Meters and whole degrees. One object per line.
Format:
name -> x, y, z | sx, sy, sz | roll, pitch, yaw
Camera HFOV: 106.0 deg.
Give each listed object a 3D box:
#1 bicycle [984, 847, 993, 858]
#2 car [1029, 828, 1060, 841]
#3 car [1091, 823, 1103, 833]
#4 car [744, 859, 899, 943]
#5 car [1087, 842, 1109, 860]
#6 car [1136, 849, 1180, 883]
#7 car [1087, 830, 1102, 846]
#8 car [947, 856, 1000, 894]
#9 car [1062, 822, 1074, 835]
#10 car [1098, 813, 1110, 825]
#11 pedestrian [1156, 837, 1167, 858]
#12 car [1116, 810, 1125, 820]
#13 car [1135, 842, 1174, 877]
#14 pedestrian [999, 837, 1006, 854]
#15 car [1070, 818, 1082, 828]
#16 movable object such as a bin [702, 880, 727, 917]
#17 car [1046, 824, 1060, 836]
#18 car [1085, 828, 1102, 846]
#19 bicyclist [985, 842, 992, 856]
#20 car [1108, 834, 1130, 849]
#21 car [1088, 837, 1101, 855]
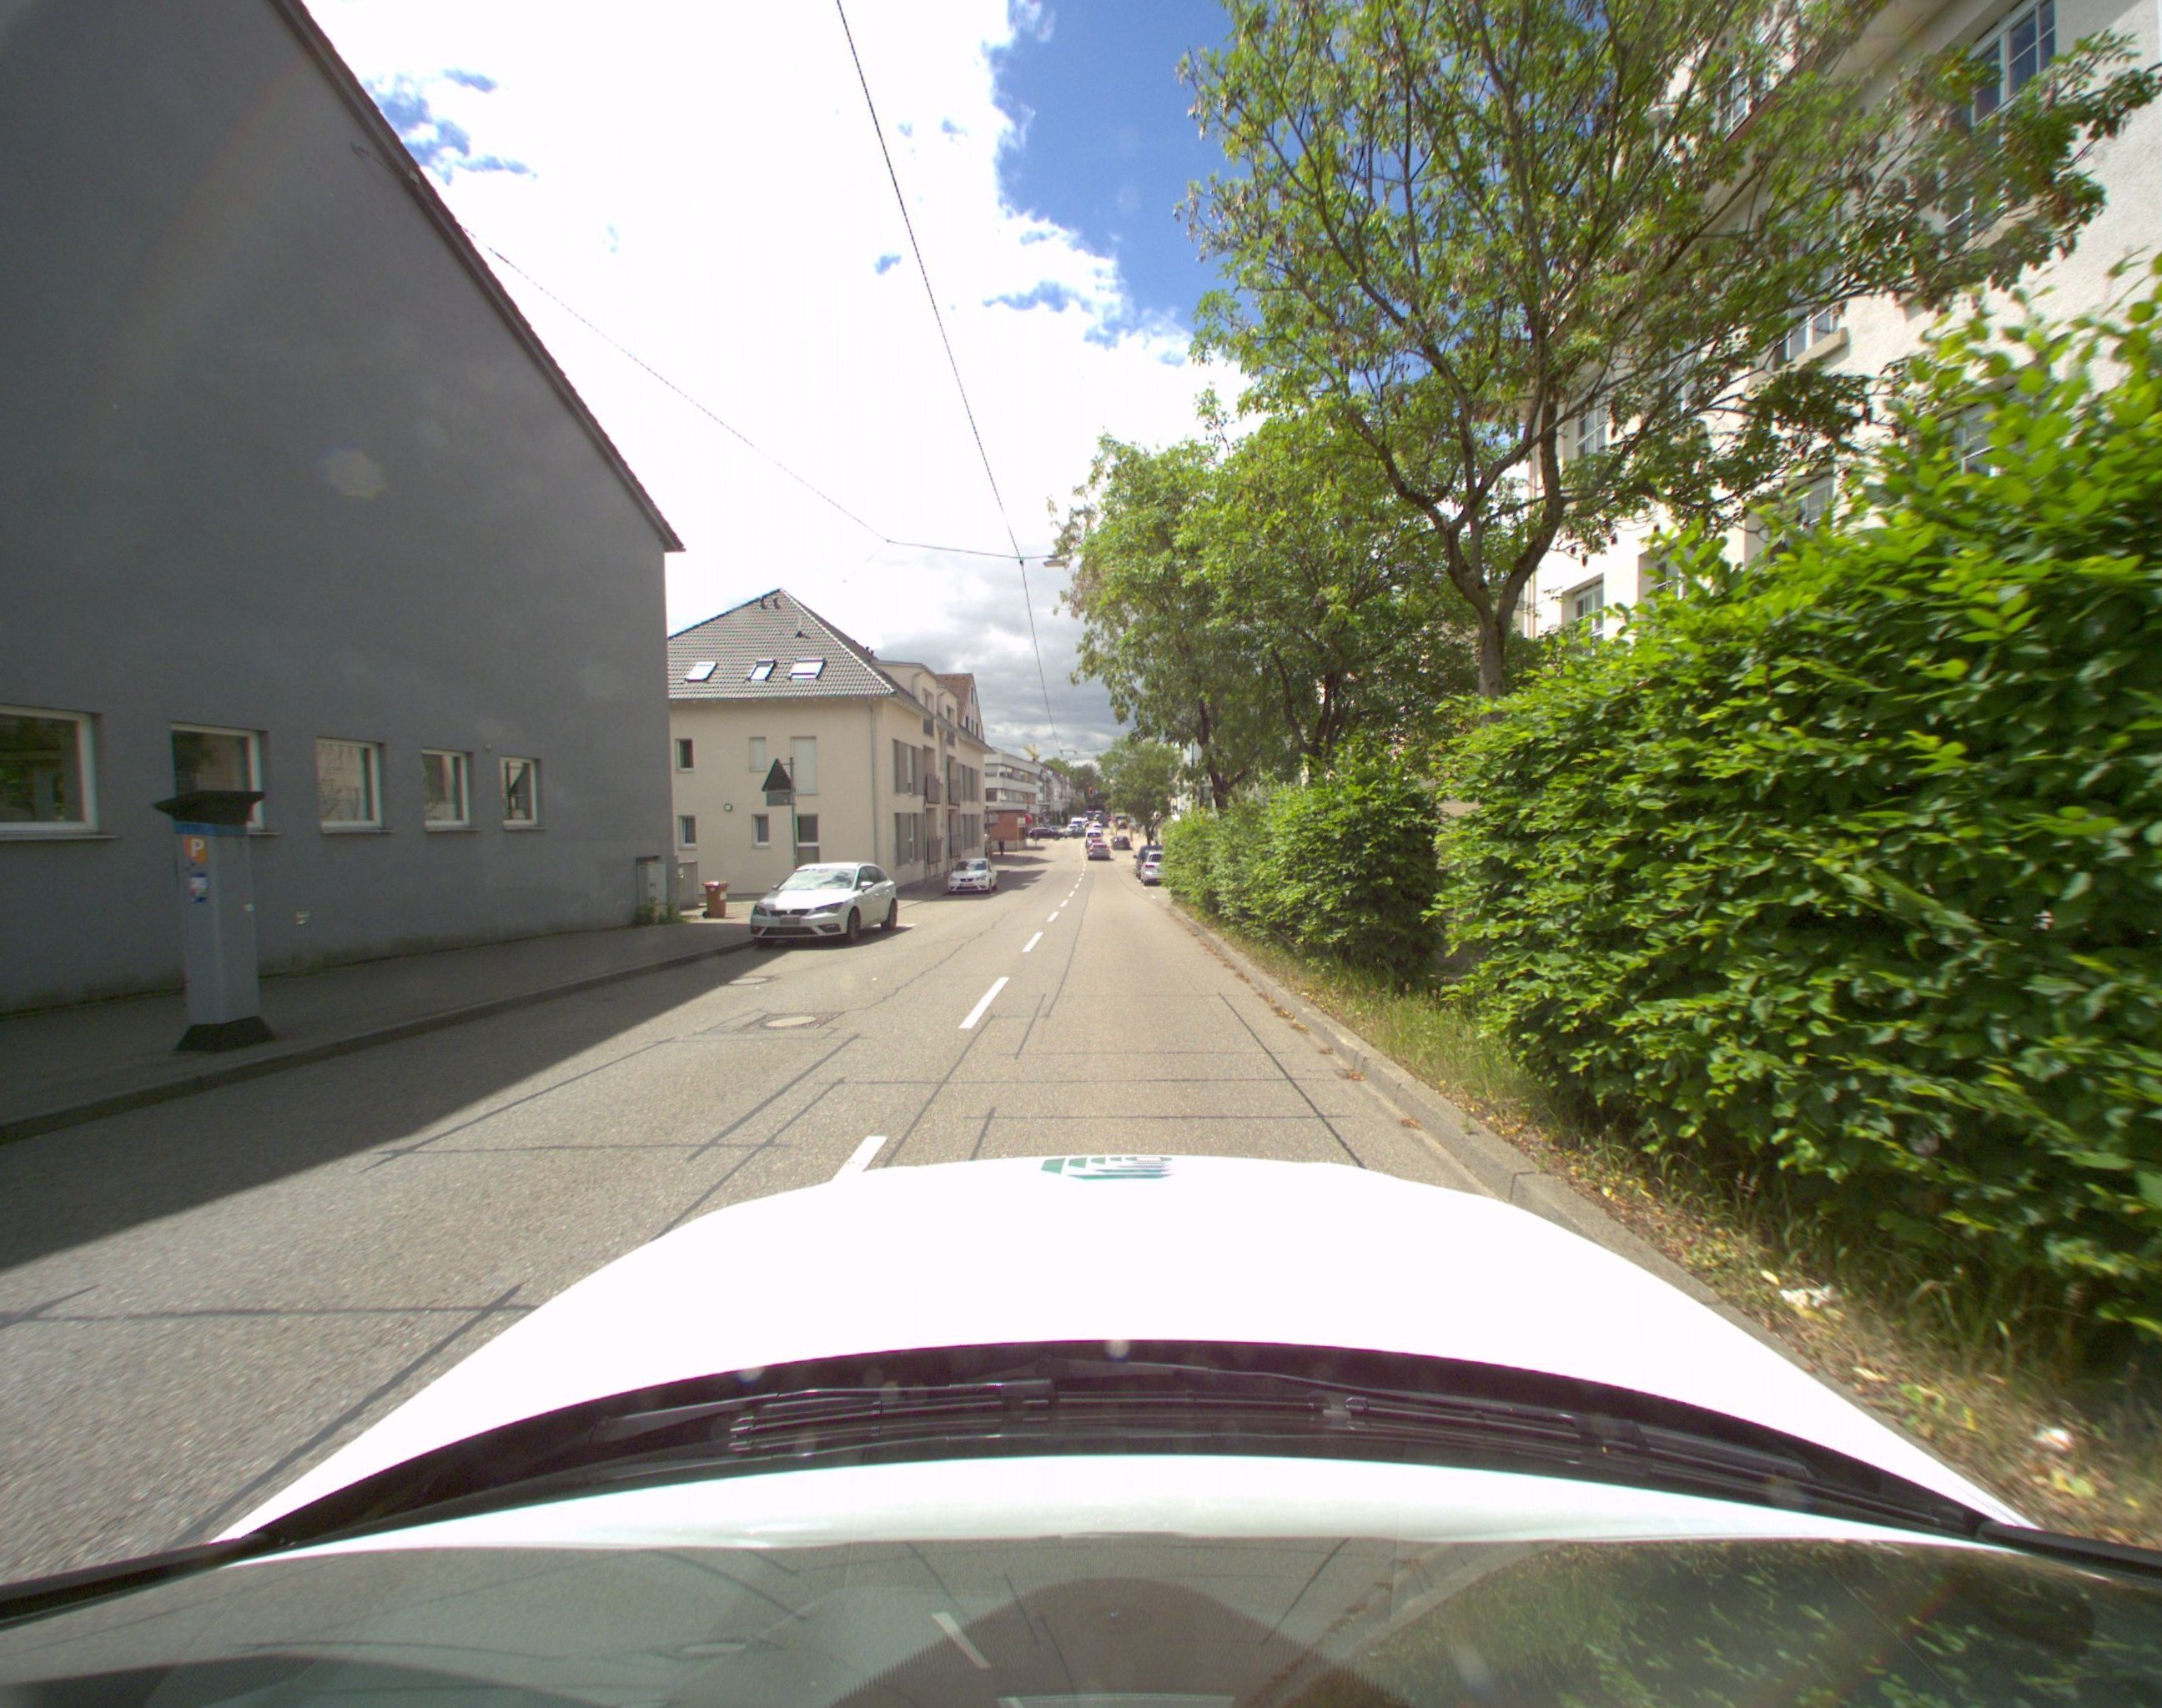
bicycle -> -7.789, -0.104, 68.638 | 0.465, 0.861, 1.778 | 1, 3, 1
car -> -4.743, -2.491, 106.027 | 3.667, 1.614, 1.563 | 1, 1, -26
car -> 2.636, -4.220, 133.421 | 1.881, 1.508, 4.002 | -1, 0, 2
car -> -4.865, 0.810, 15.862 | 1.691, 1.390, 3.867 | 0, 0, 1
car -> 1.456, -0.272, 69.359 | 1.738, 1.416, 4.002 | 0, 1, 1
car -> 3.582, 0.534, 38.561 | 1.780, 1.509, 4.366 | 0, 1, 1
car -> 1.662, -1.965, 99.380 | 1.830, 1.862, 3.852 | 0, 1, 1
car -> -4.399, 0.826, 33.809 | 1.641, 1.418, 3.699 | 0, 0, 1
car -> -1.800, -3.511, 113.464 | 1.630, 1.656, 3.852 | 0, 1, 1
car -> 4.774, -7.239, 169.149 | 2.428, 2.318, 5.328 | 1, 1, 1
pedestrian -> 6.245, -0.505, 63.063 | 0.735, 1.647, 0.615 | 2, -1, -5
car -> 8.830, -8.740, 182.510 | 1.795, 2.013, 4.001 | 0, 0, 1
car -> 3.926, 0.260, 44.331 | 1.837, 1.767, 4.516 | 0, 1, 1
pedestrian -> -7.290, -0.810, 75.525 | 0.625, 1.602, 0.563 | 0, 1, 2
car -> -0.972, -5.525, 146.293 | 1.865, 1.640, 4.004 | 0, 0, 4
movable object such as a bin -> -9.356, 1.133, 20.791 | 0.452, 0.929, 0.399 | -1, 0, 0
car -> -4.379, -3.763, 128.322 | 1.865, 1.640, 4.004 | 1, 1, 4
car -> 1.391, -1.820, 88.610 | 1.830, 1.862, 3.852 | 0, 1, 1
bicyclist -> -7.786, -0.426, 68.595 | 0.456, 1.178, 0.625 | 0, 2, 1
car -> 3.906, -1.318, 84.980 | 1.750, 1.370, 3.994 | 0, 3, -6
car -> 1.287, -0.768, 78.078 | 1.269, 1.527, 3.052 | 0, 4, 1
